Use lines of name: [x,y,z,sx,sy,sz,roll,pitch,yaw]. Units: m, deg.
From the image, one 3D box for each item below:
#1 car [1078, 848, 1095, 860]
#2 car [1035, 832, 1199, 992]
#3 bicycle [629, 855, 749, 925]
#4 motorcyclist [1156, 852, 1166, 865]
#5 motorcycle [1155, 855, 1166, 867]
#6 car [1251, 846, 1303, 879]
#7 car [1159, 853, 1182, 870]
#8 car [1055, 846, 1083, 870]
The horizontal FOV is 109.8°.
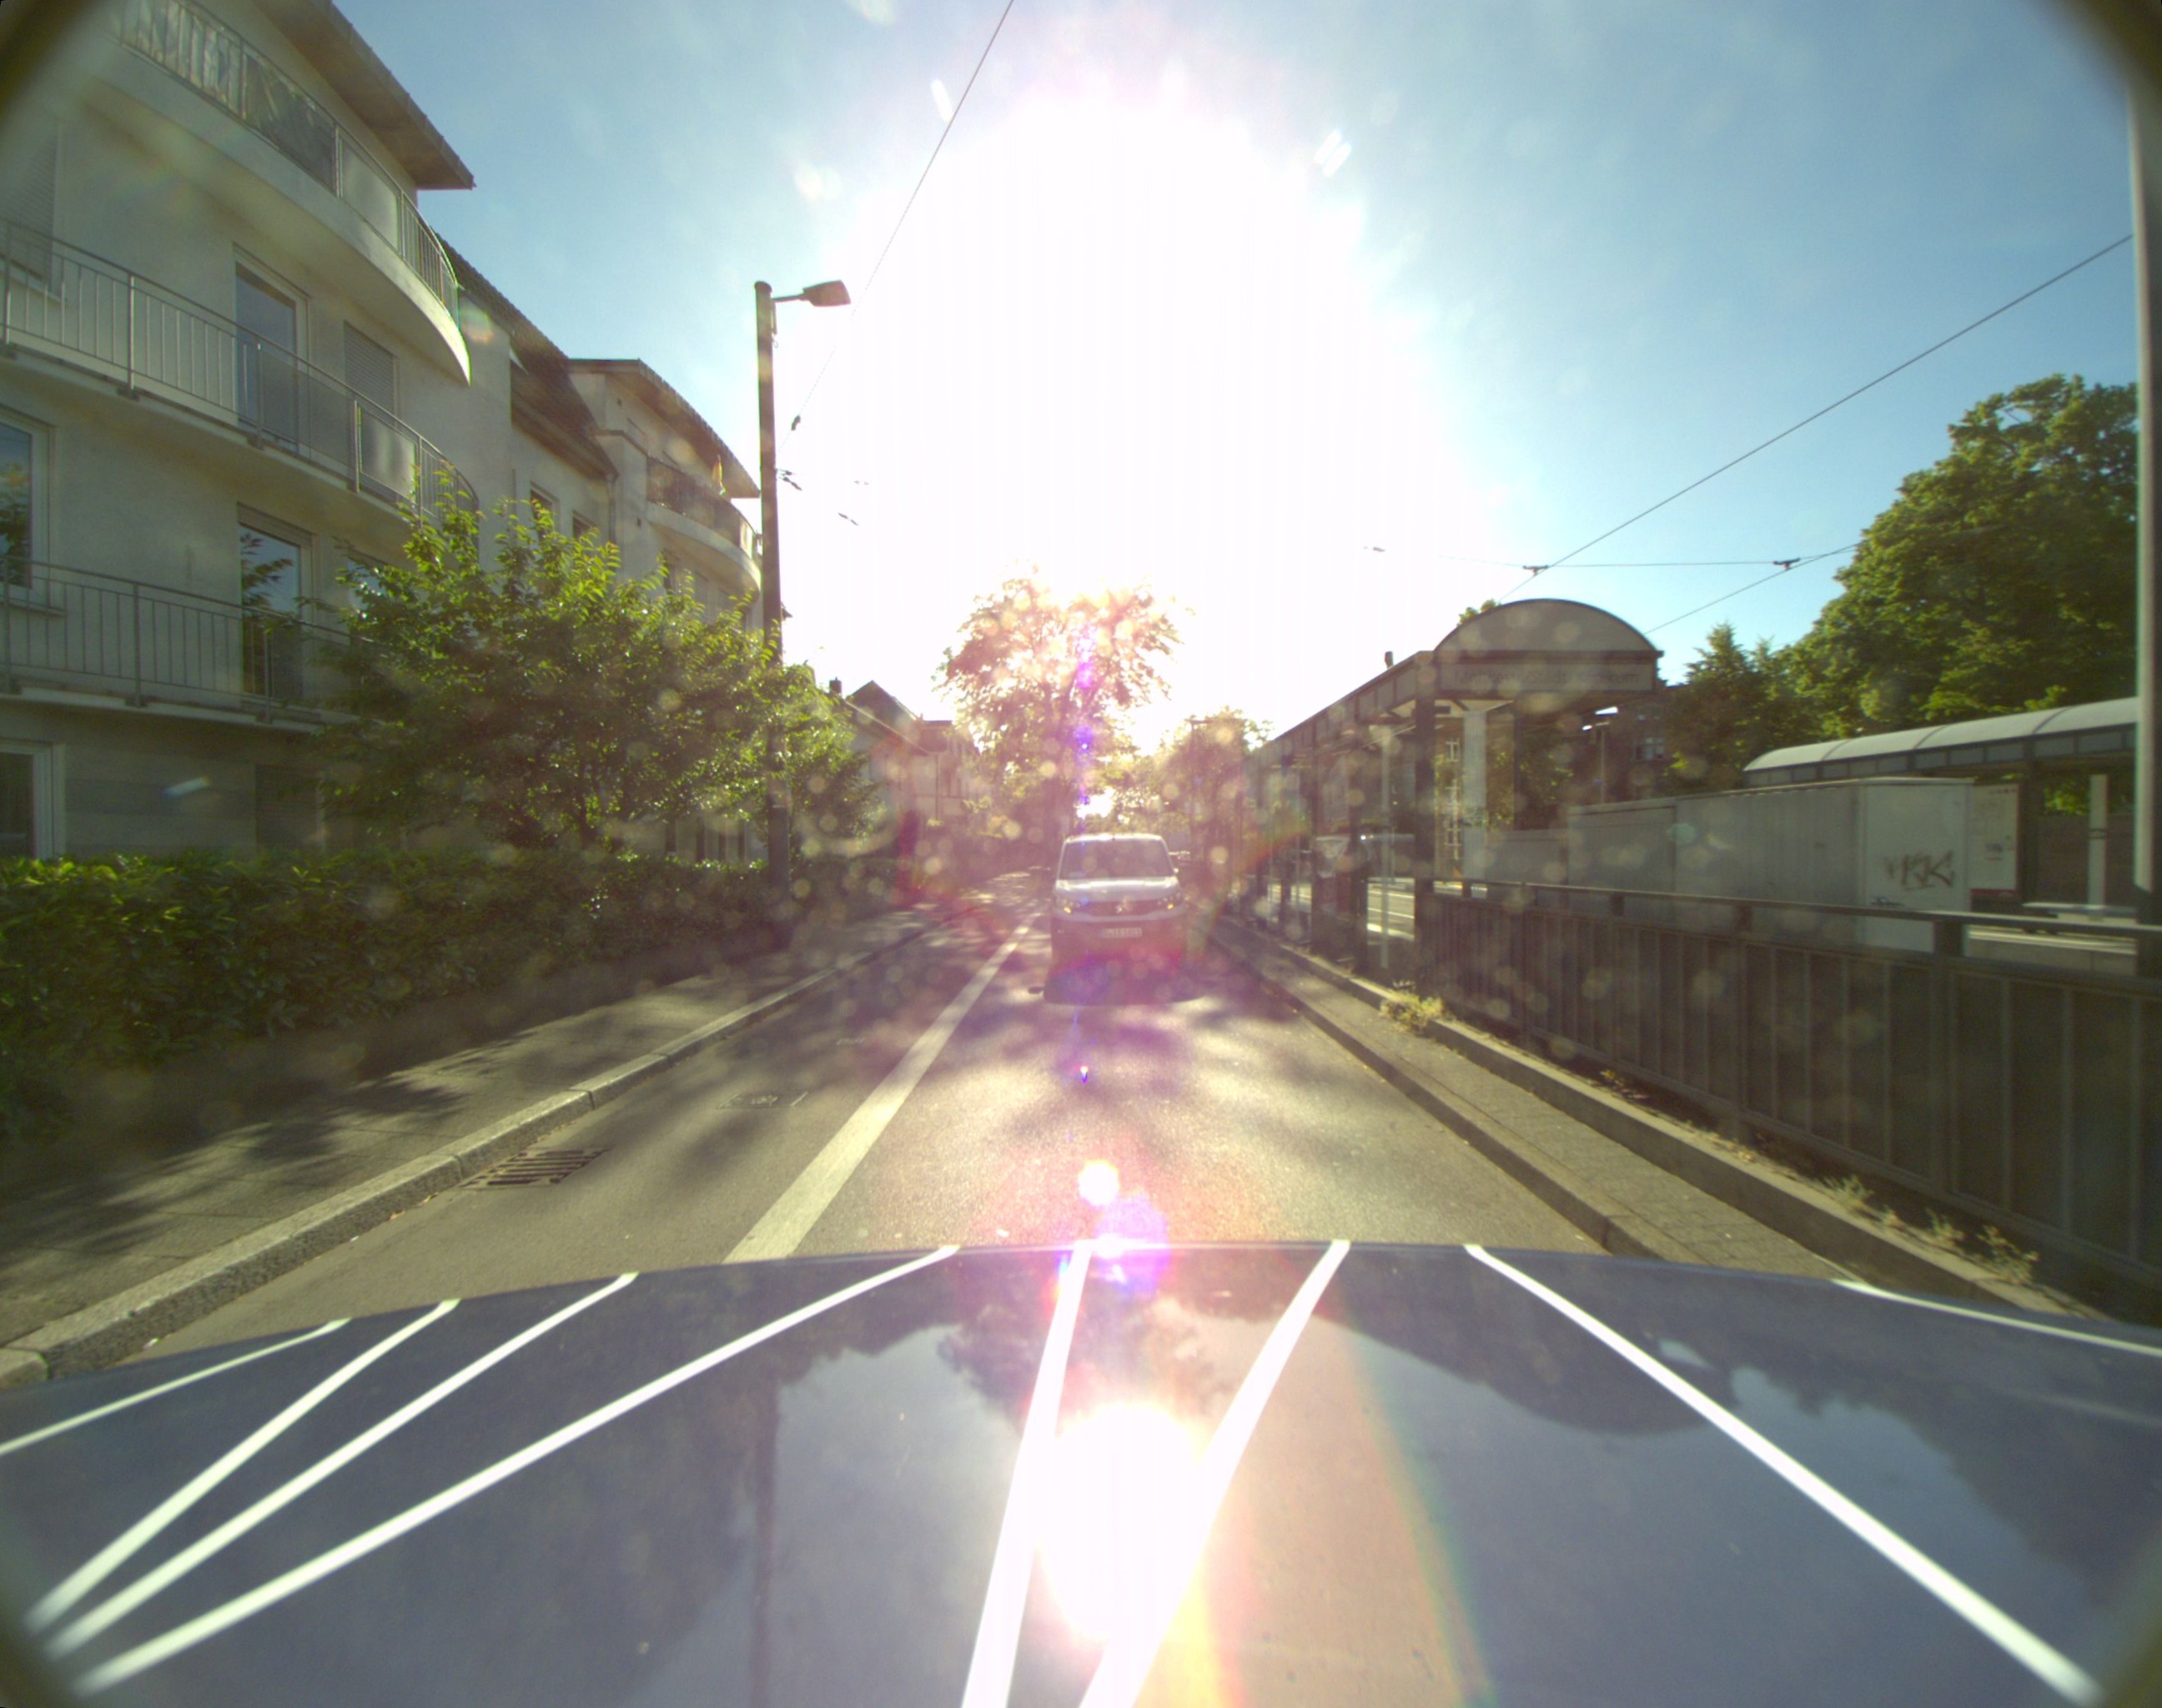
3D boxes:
car: [0.719,-0.020,92.982,1.719,1.332,3.918,-1,1,5]
car: [0.472,0.635,10.965,1.832,1.788,4.334,-2,1,2]
bicycle: [-7.499,0.666,14.599,1.845,1.196,0.825,3,1,0]
motorcyclist: [9.299,0.503,88.552,1.127,1.516,1.055,-1,1,4]
motorcycle: [9.311,0.814,88.668,1.132,1.236,2.573,-1,1,4]
car: [10.469,0.423,40.915,1.911,1.667,4.358,0,1,3]
car: [8.479,0.705,71.958,1.859,1.394,3.985,-1,-3,2]
car: [-0.901,0.314,58.702,1.998,1.733,4.170,-1,1,1]
